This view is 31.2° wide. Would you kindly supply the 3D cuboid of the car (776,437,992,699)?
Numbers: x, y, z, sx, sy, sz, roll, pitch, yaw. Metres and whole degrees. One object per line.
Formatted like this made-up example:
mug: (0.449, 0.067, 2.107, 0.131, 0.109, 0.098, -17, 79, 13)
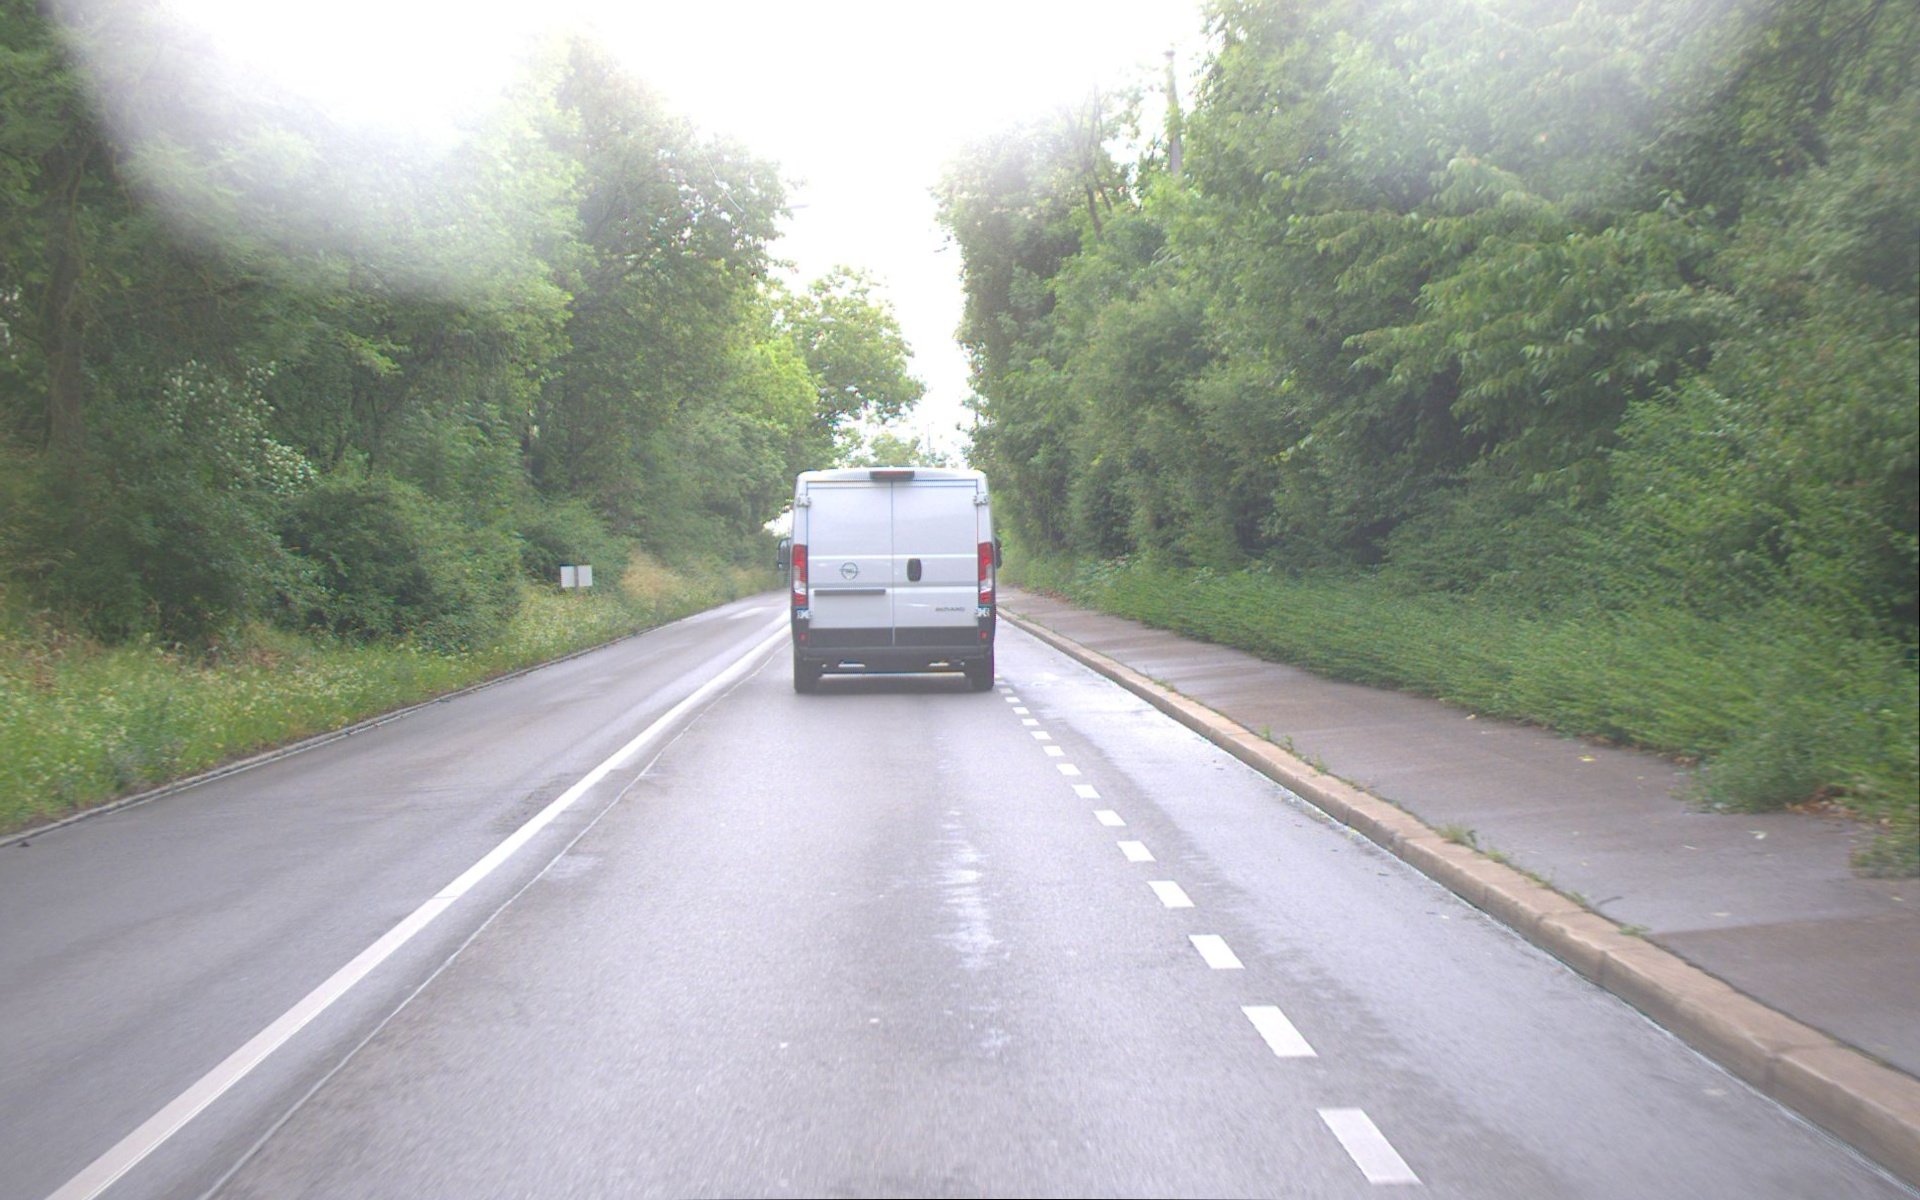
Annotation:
car: (-0.774, -0.365, 36.013, 2.050, 2.508, 4.944, 1, 1, -1)
